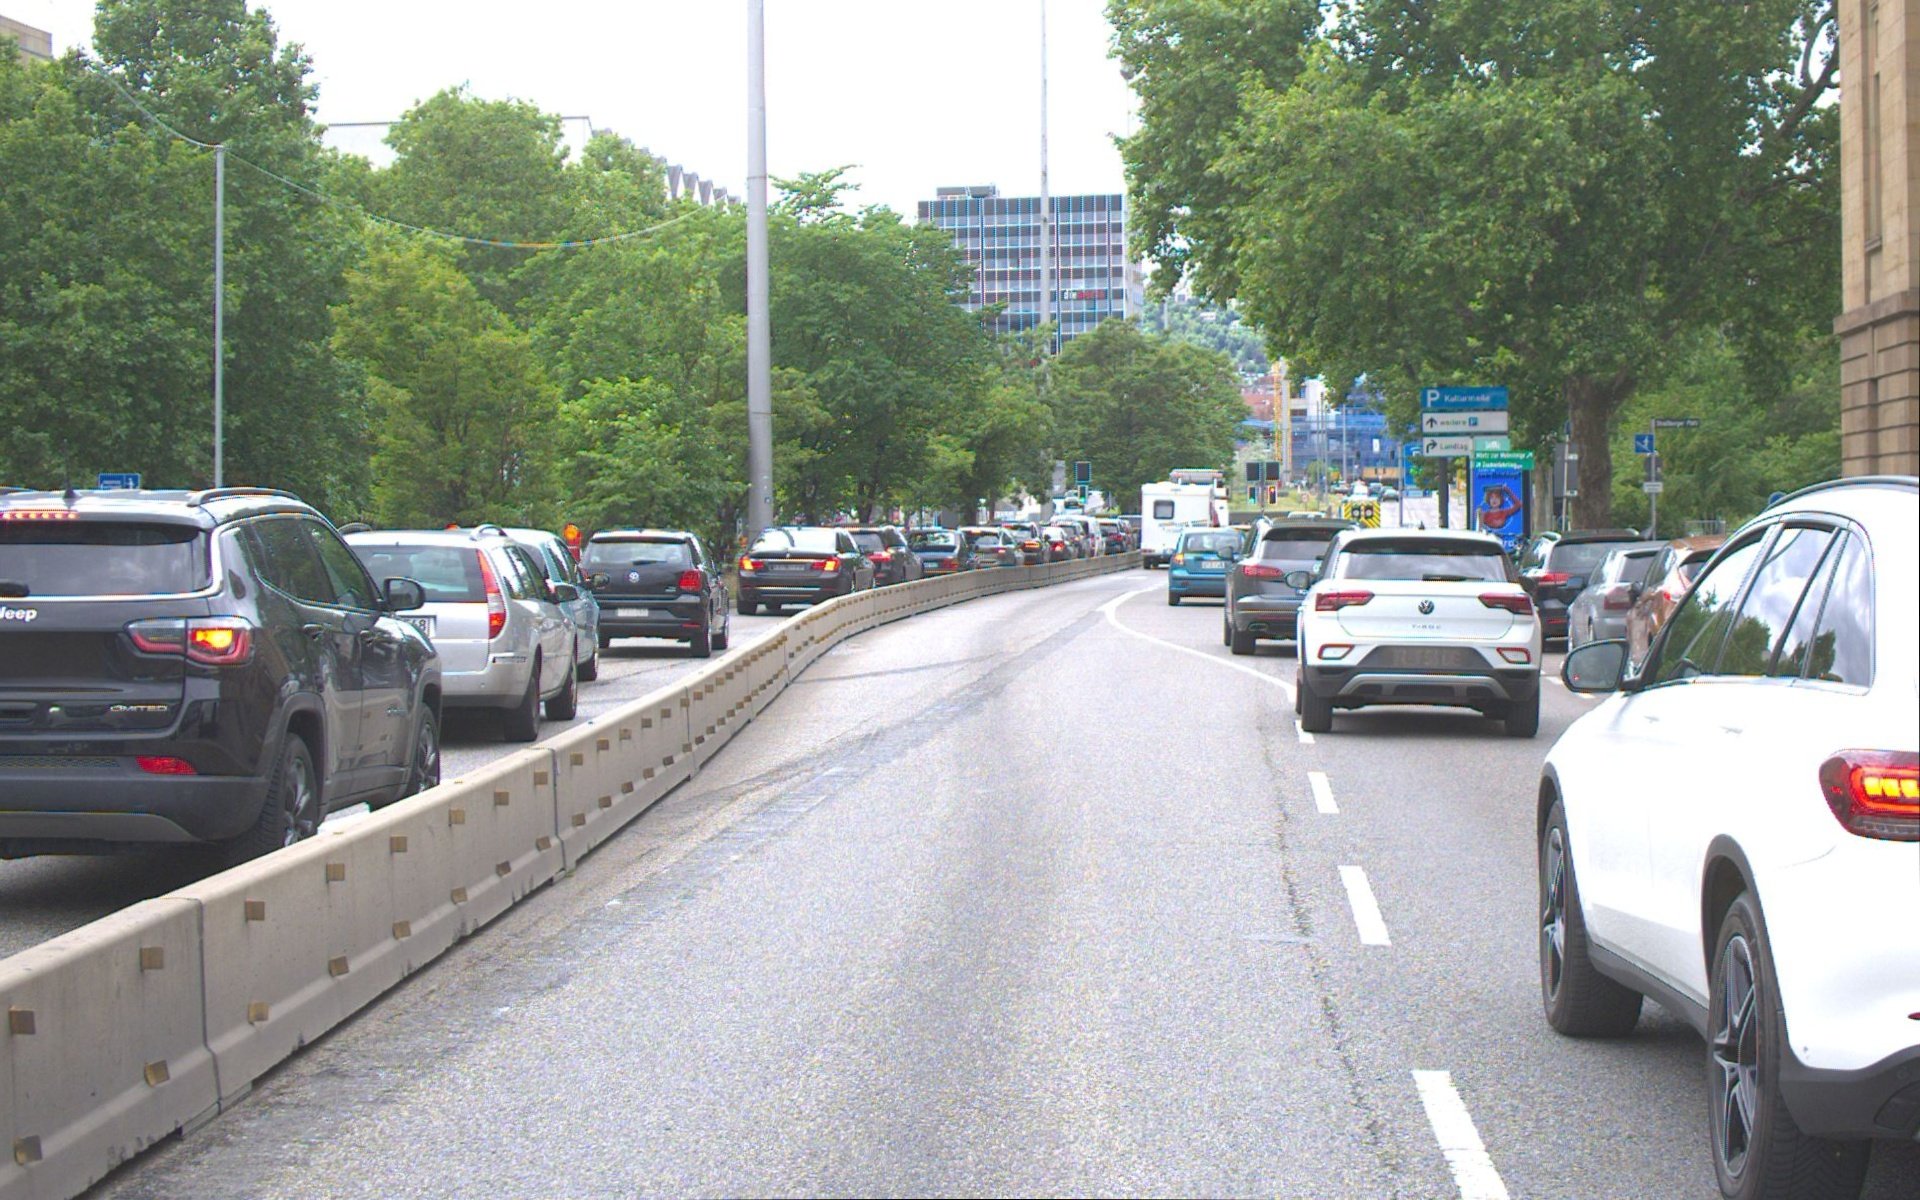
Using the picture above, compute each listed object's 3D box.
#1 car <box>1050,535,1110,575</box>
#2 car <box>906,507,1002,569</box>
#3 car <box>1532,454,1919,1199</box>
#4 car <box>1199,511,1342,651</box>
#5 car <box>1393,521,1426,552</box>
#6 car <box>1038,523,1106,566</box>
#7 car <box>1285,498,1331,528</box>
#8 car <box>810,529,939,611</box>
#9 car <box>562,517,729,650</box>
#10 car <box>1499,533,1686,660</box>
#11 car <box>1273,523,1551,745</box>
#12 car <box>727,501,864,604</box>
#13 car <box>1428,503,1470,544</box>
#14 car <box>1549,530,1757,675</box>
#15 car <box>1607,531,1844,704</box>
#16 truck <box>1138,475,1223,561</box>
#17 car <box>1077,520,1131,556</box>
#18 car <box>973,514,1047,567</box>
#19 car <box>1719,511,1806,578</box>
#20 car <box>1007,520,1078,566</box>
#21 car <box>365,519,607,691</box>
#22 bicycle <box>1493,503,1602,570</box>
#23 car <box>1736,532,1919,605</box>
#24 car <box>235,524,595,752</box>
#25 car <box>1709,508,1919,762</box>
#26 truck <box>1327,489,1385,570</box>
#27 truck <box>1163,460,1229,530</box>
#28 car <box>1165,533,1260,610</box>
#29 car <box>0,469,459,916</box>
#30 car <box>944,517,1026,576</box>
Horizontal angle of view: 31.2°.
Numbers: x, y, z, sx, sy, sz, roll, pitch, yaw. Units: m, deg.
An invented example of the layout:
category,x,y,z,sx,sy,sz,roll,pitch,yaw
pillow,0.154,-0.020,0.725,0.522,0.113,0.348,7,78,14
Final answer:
category,x,y,z,sx,sy,sz,roll,pitch,yaw
car,4.079,-1.518,116.533,1.659,1.315,3.546,1,1,8
car,-0.114,-1.420,77.896,1.678,1.362,4.542,0,1,6
car,2.549,0.497,8.551,1.788,1.619,4.437,0,1,4
car,3.755,-0.263,42.016,1.659,1.633,3.547,0,1,4
car,24.433,-3.475,186.877,1.759,1.663,4.167,0,2,7
car,3.517,-1.741,107.366,1.660,1.315,3.546,1,1,10
car,15.835,-3.943,156.194,1.947,1.315,4.015,1,1,8
car,-1.587,-0.593,65.189,1.816,1.494,4.768,0,1,6
car,-3.622,-0.221,40.121,1.659,1.449,4.198,1,1,-2
car,7.833,-0.077,42.904,1.788,1.481,4.325,1,1,4
car,3.444,0.201,26.773,1.796,1.603,3.755,0,1,2
car,-2.684,-0.803,57.239,1.923,1.630,4.936,1,1,1
car,24.002,-3.748,168.775,1.994,2.007,3.999,1,1,8
car,7.313,-0.011,36.591,1.709,1.421,3.996,-1,1,5
car,6.920,0.114,31.375,1.616,1.450,3.858,-1,1,6
truck,7.685,-2.839,119.179,2.621,2.851,7.077,1,1,6
car,5.322,-2.291,126.859,1.659,1.315,3.546,1,1,8
car,1.389,-1.655,94.836,1.776,1.415,4.000,0,2,5
car,20.548,-1.432,88.149,1.761,1.546,4.026,0,3,8
car,2.484,-1.703,102.350,1.660,1.315,3.546,1,1,9
car,-4.382,0.007,32.256,1.672,1.501,3.854,1,1,1
bicycle,9.777,-1.062,57.255,1.730,1.087,0.380,2,1,19
car,19.149,-0.706,75.726,3.837,1.563,1.679,0,1,7
car,-3.838,0.203,24.967,1.878,1.476,4.705,1,1,0
car,6.207,0.171,23.510,1.546,1.546,3.708,-3,1,4
truck,20.747,-3.723,180.294,2.878,4.089,6.637,1,1,6
truck,10.684,-4.718,155.410,2.692,2.981,5.637,2,1,6
car,4.831,-0.551,65.529,1.659,1.408,3.546,1,1,6
car,-3.353,0.301,14.552,1.776,1.615,4.046,1,1,1
car,0.652,-1.333,86.291,1.662,1.431,3.959,1,1,6
